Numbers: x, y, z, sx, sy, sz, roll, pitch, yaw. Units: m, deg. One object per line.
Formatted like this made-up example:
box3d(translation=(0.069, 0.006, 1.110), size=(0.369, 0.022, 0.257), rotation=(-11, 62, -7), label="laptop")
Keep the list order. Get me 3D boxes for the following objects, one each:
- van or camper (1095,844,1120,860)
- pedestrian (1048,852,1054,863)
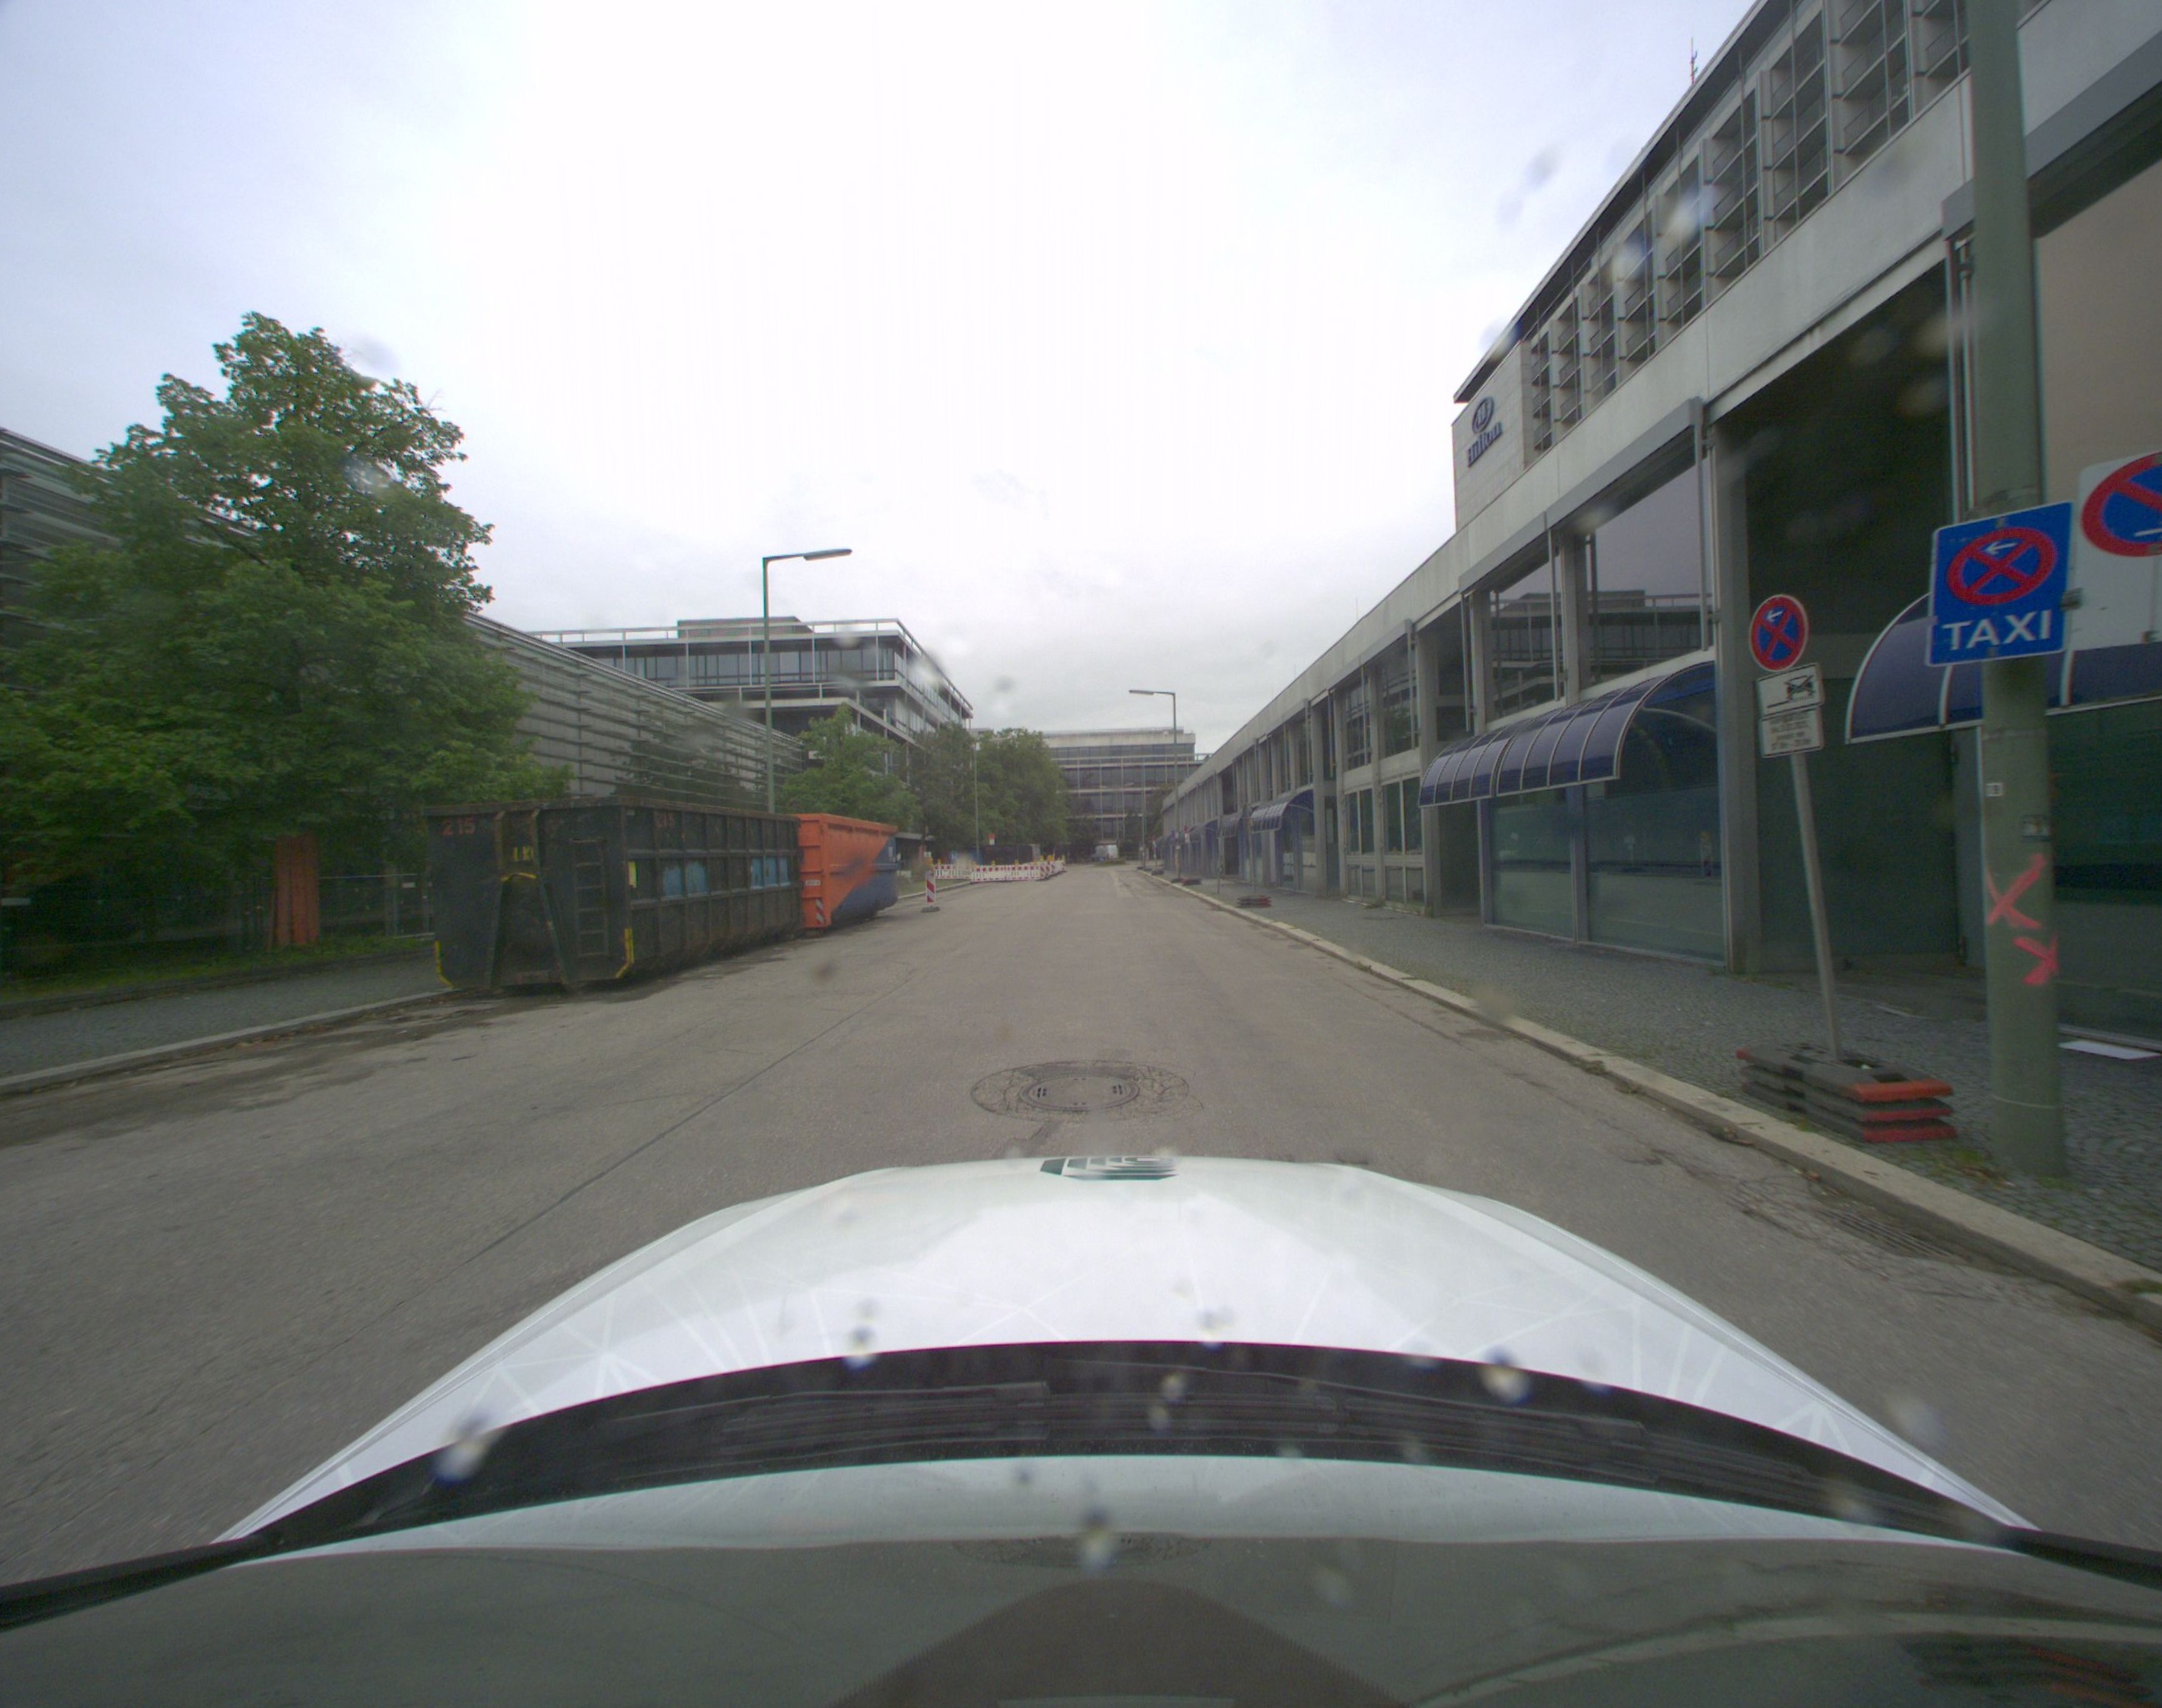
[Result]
box3d(translation=(4.229, -0.292, 130.832), size=(2.095, 2.492, 5.026), rotation=(-2, 0, -24), label="van or camper")
box3d(translation=(-4.813, 0.566, 129.683), size=(0.743, 1.677, 0.678), rotation=(-2, 0, -18), label="pedestrian")
